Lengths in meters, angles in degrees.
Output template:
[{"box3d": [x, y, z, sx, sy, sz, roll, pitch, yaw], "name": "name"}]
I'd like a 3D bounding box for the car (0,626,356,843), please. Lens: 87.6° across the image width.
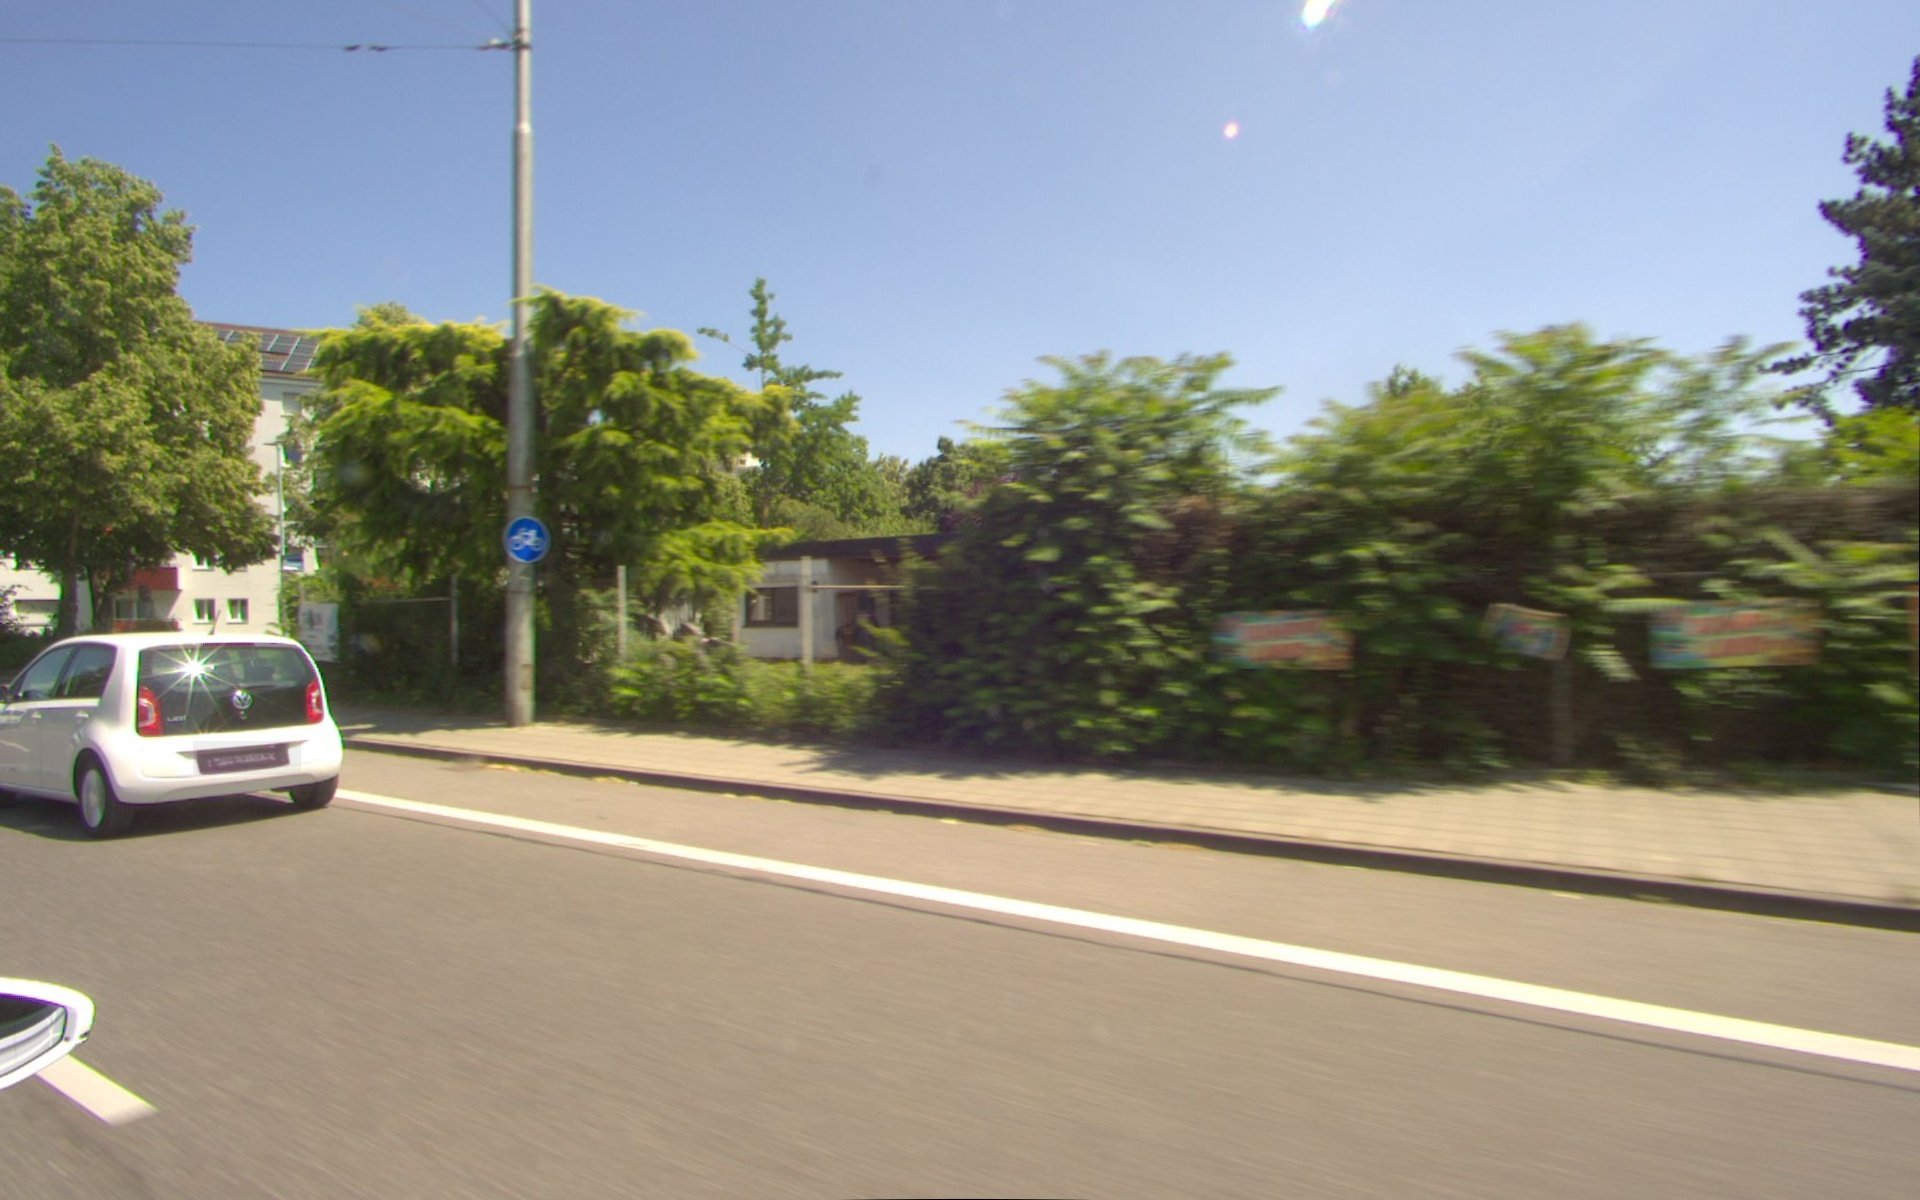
[{"box3d": [-6.892, 0.985, 8.533, 3.385, 1.466, 1.607, 0, -2, 32], "name": "car"}]
